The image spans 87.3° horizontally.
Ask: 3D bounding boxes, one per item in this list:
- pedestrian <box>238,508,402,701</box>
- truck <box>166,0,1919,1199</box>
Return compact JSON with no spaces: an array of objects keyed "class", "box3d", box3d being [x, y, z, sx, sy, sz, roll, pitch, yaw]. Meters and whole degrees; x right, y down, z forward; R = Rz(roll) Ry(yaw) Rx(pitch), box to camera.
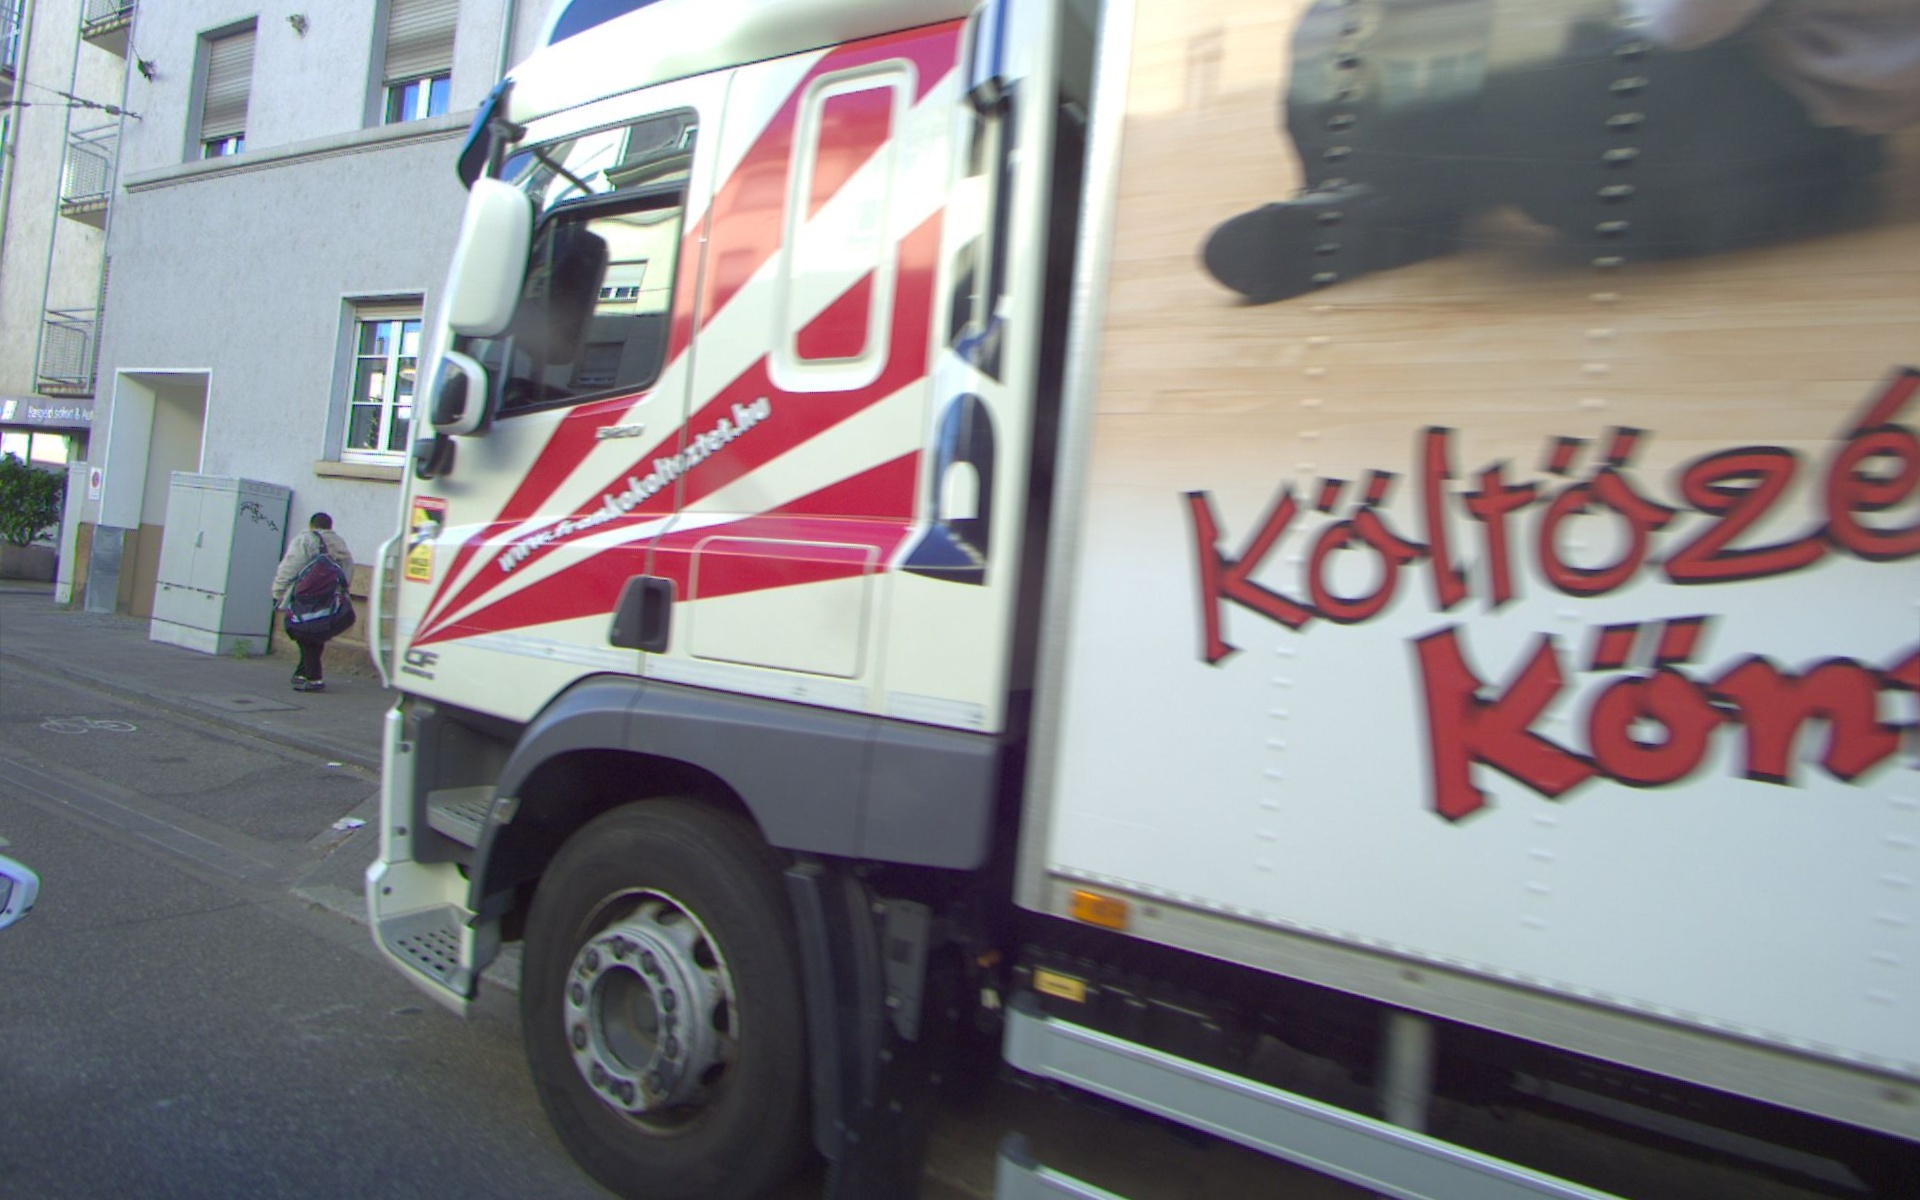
[{"class":"pedestrian","box3d":[-5.664,0.039,8.916,0.854,1.554,0.826,7,2,29]},{"class":"truck","box3d":[3.746,-0.084,1.345,11.573,4.124,2.866,7,0,28]}]
